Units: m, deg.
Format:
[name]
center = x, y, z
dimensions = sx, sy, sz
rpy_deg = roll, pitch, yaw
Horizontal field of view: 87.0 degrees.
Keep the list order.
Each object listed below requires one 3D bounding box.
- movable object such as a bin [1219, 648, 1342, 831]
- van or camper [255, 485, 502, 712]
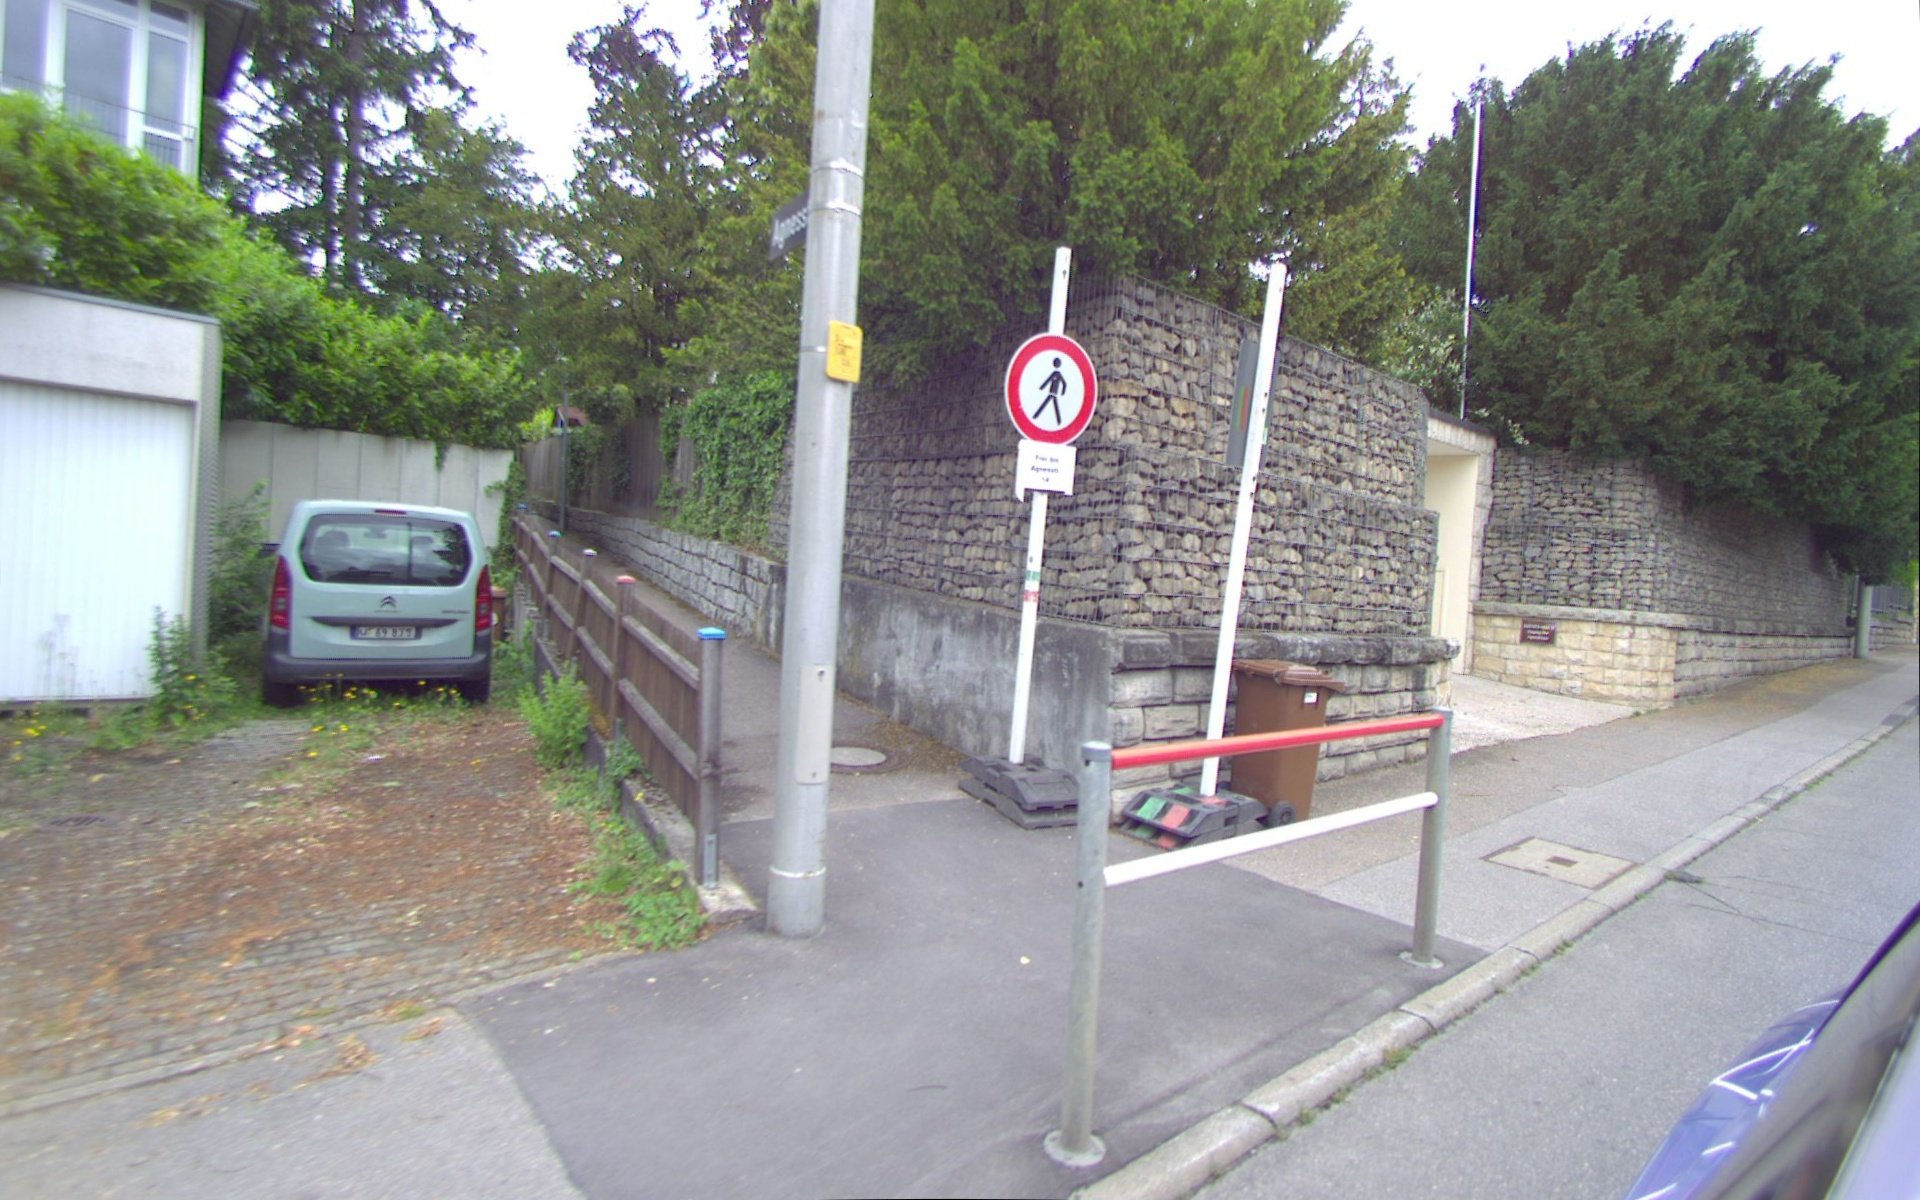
[movable object such as a bin]
center = 1.808, 0.767, 5.729
dimensions = 0.386, 0.920, 0.447
rpy_deg = 1, 5, -32
[van or camper]
center = -5.819, -0.093, 10.054
dimensions = 1.756, 1.768, 4.003
rpy_deg = 0, 2, -33
